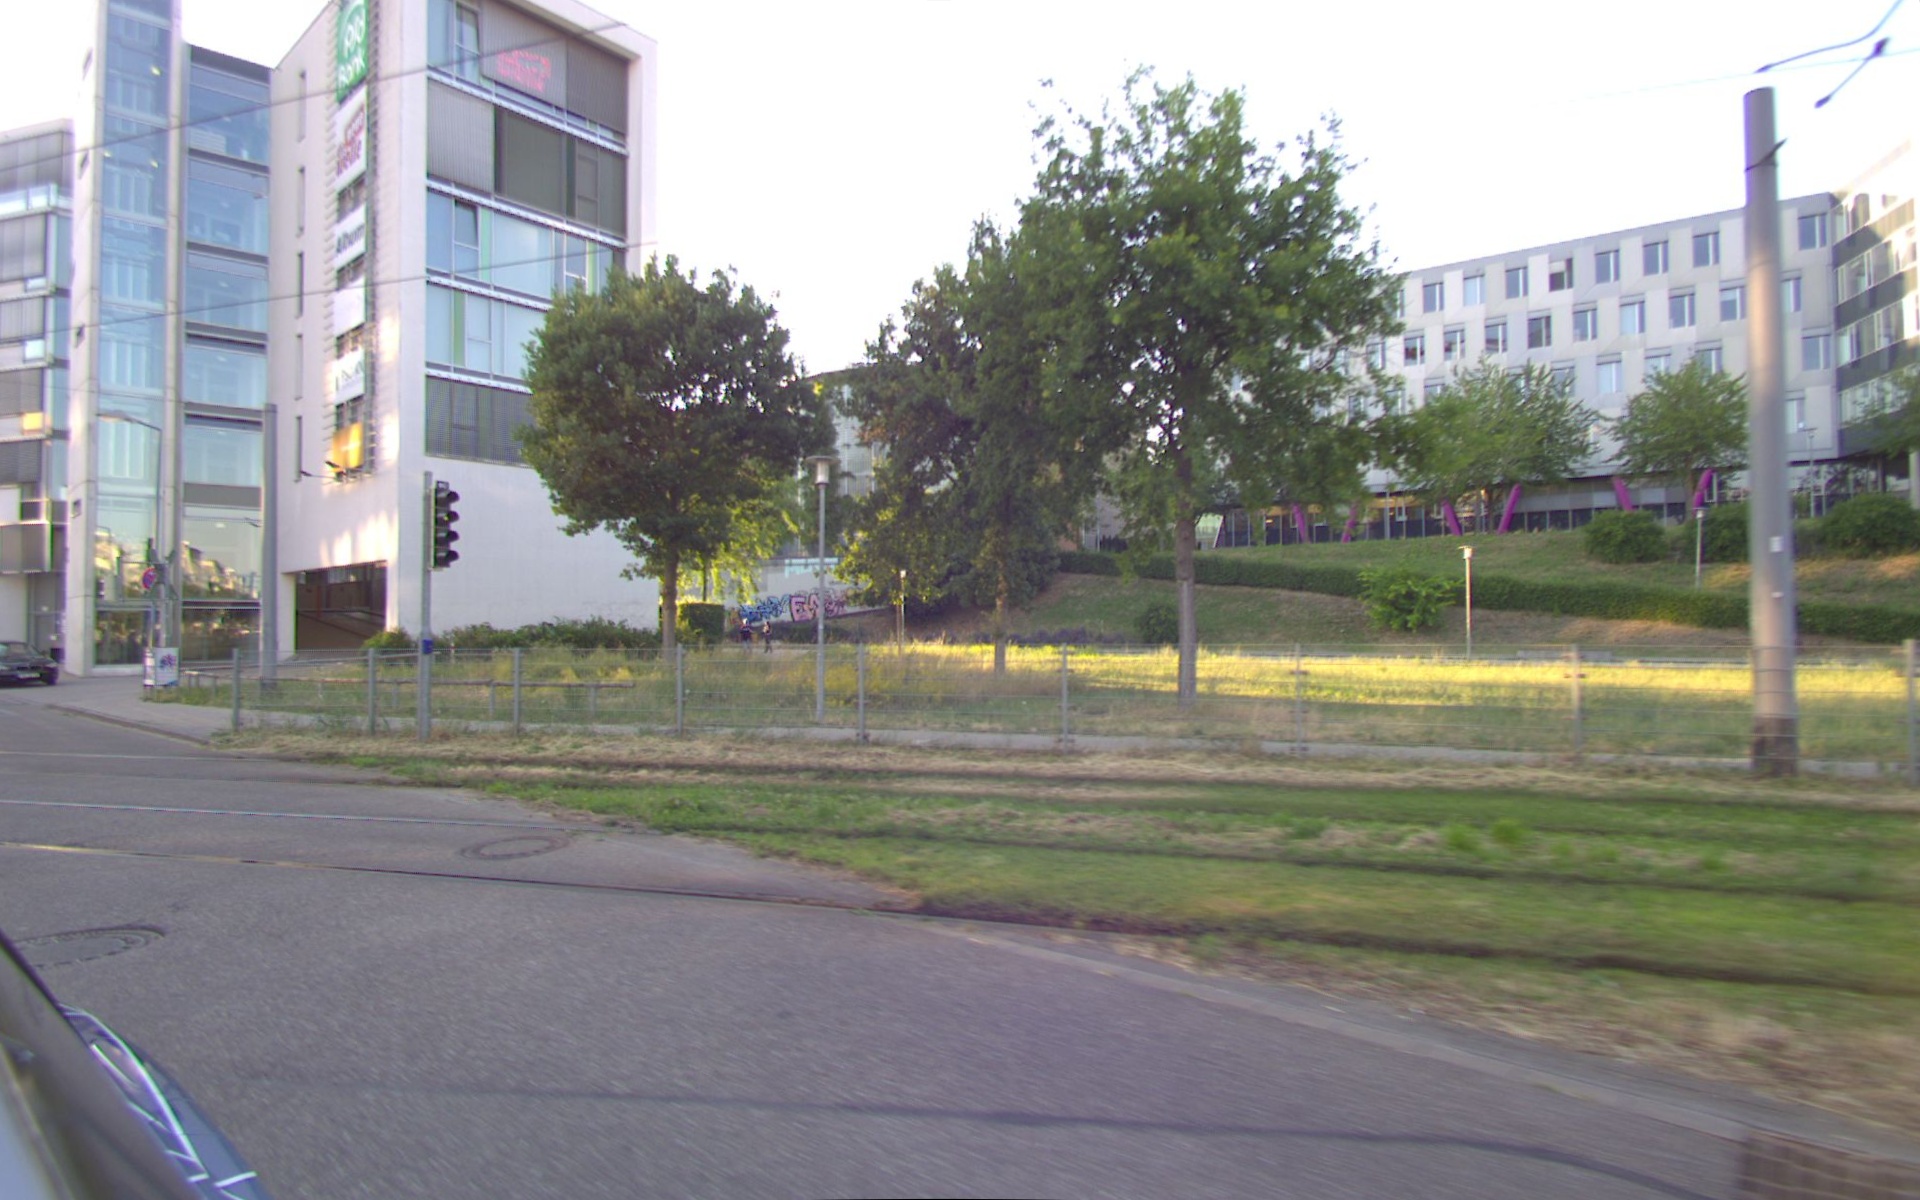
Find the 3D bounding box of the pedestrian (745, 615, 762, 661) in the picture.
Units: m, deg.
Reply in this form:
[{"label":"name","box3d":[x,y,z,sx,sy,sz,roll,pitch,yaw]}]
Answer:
[{"label":"pedestrian","box3d":[-8.456,1.542,41.459,0.480,1.850,0.434,-2,-1,20]}]

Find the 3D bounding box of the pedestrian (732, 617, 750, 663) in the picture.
[{"label":"pedestrian","box3d":[-8.989,1.625,41.539,0.480,1.850,0.446,-2,-1,20]}]

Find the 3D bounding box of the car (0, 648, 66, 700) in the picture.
[{"label":"car","box3d":[-30.097,2.309,31.809,4.213,1.453,1.839,-2,0,32]}]
